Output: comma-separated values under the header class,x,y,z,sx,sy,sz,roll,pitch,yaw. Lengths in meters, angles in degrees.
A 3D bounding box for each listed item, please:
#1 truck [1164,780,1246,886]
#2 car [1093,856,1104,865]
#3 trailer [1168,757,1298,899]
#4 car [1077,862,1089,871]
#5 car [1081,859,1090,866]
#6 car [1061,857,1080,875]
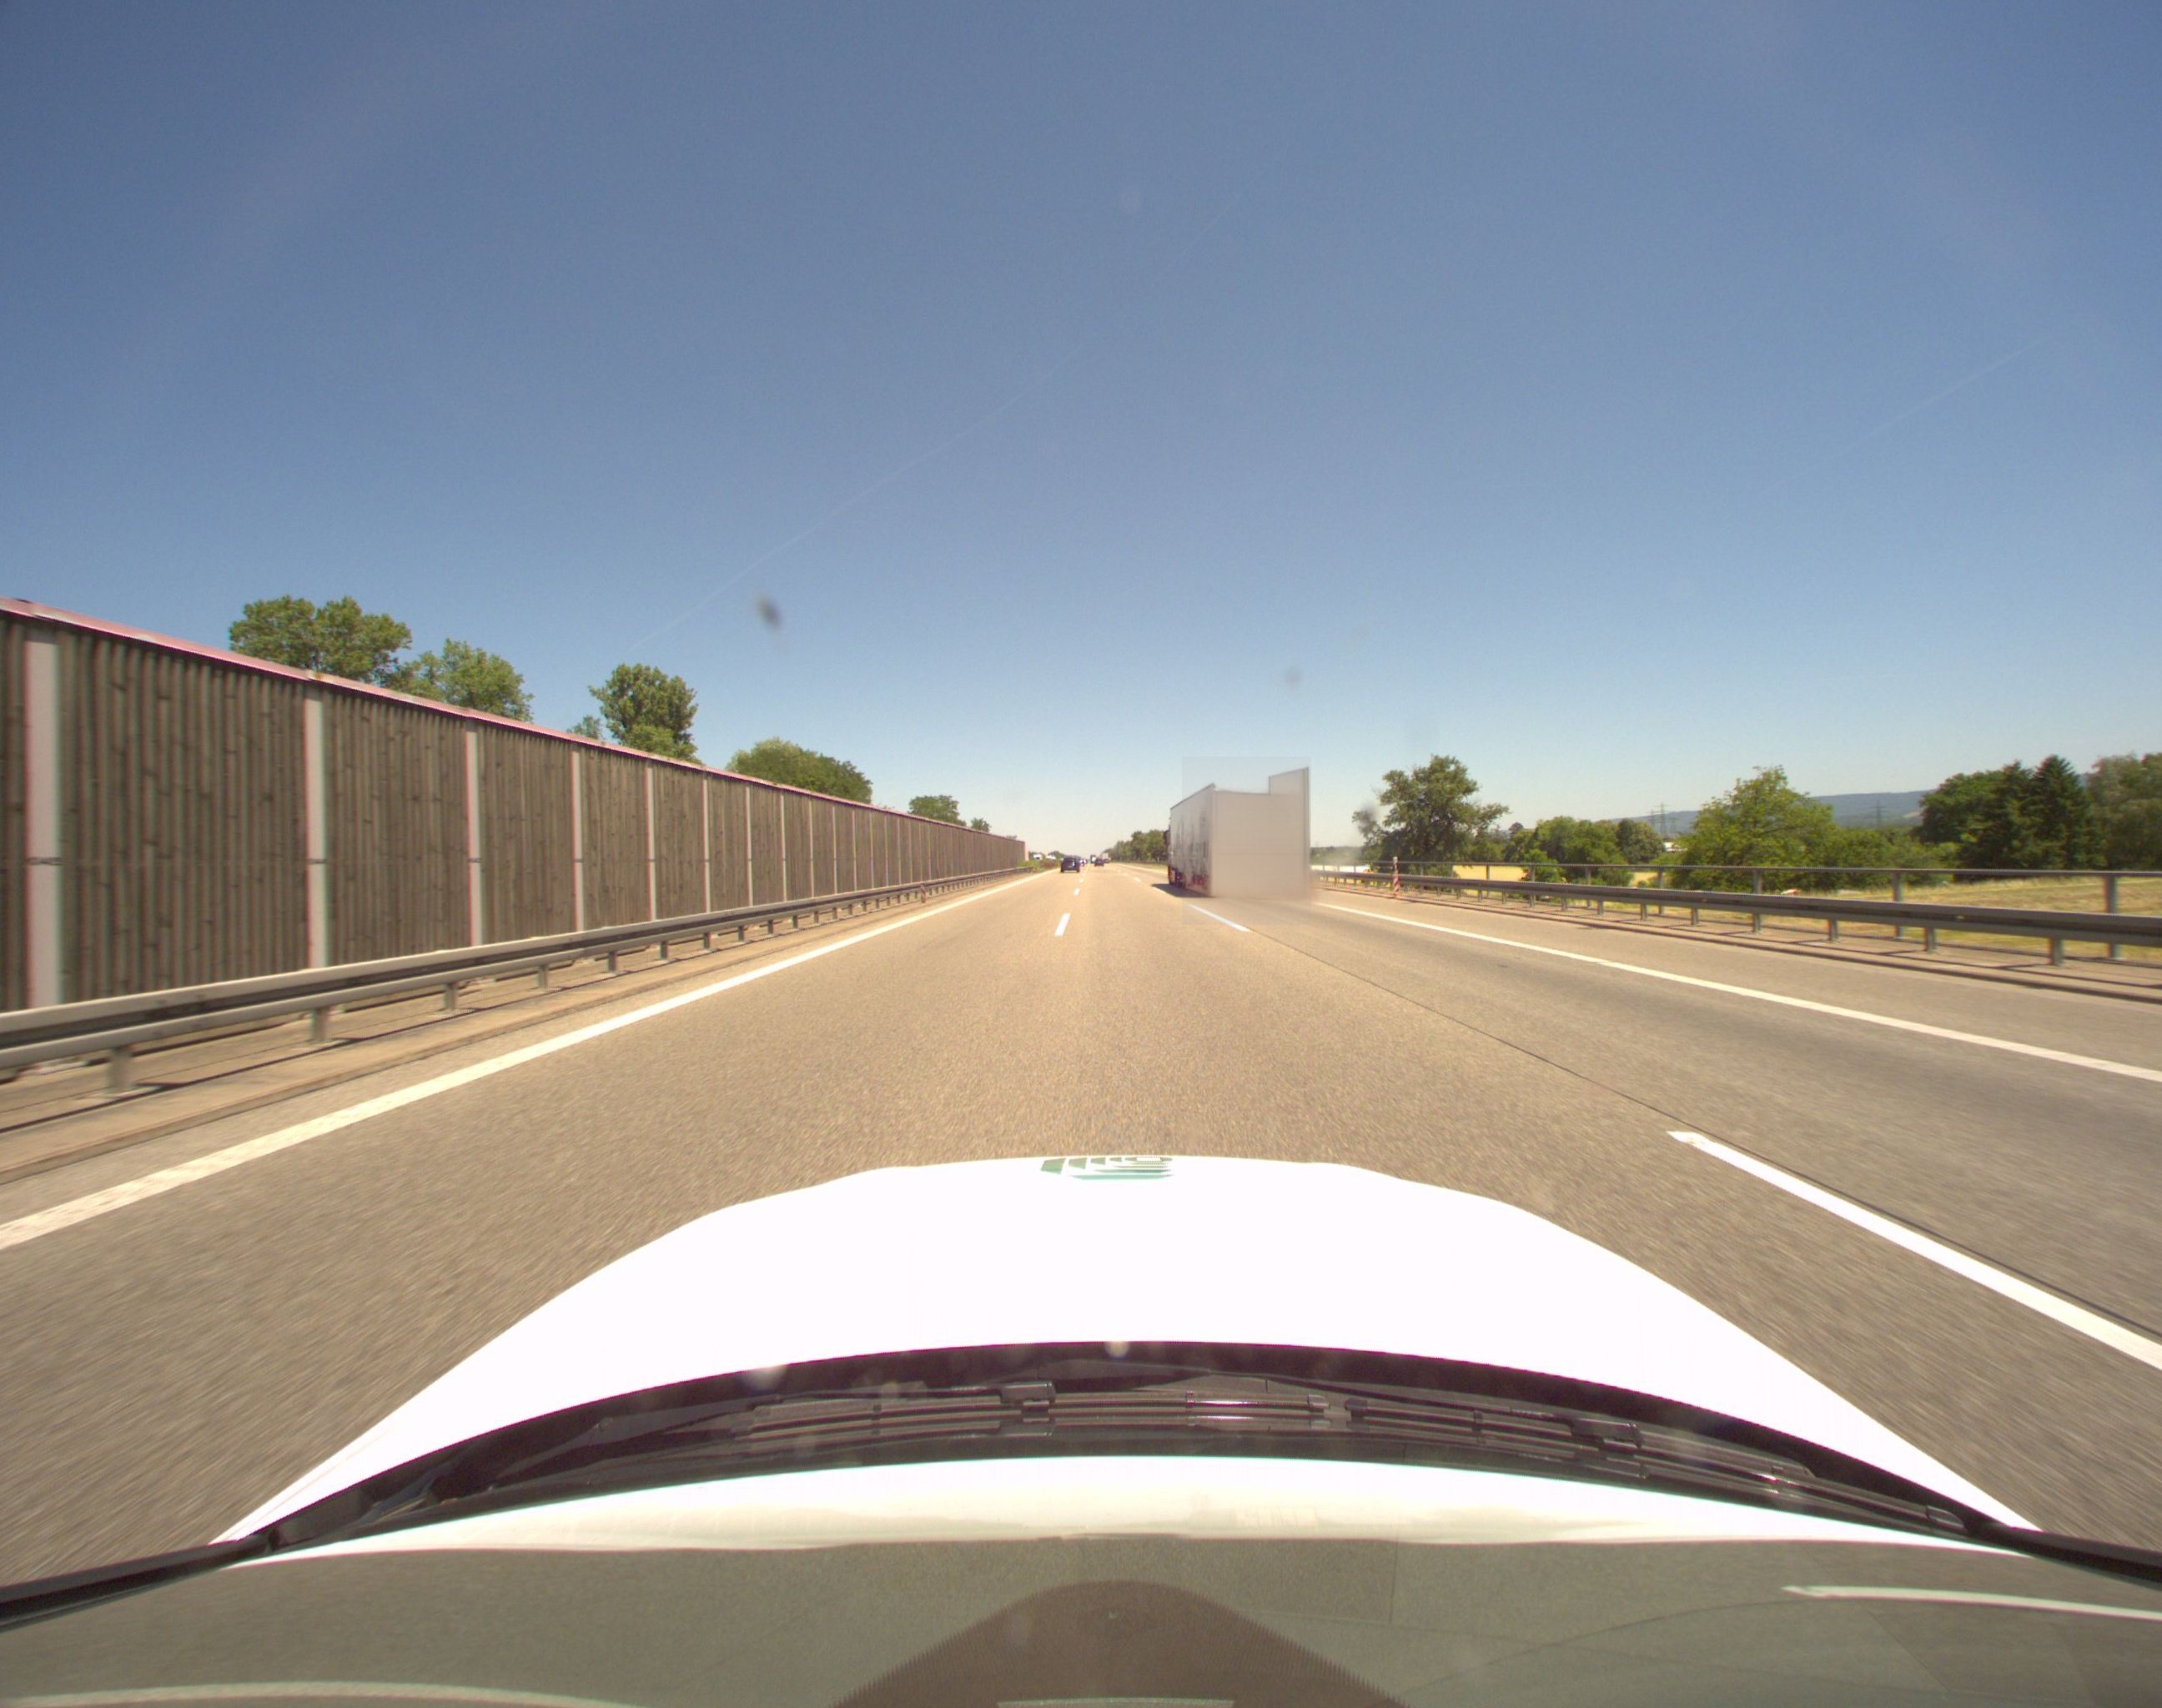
class,x,y,z,sx,sy,sz,roll,pitch,yaw
truck,6.150,-0.997,41.500,3.222,4.889,6.973,-1,0,1
car,3.138,1.172,144.782,1.896,1.584,4.305,-2,-1,1
trailer,6.014,-0.927,35.171,3.257,4.837,14.032,-1,0,1
car,0.362,2.370,153.537,2.121,1.645,4.305,-2,-1,1
car,1.164,2.210,217.328,2.121,1.645,4.305,-2,-1,1
car,-1.078,1.265,85.320,1.874,1.792,3.999,-1,0,-1
